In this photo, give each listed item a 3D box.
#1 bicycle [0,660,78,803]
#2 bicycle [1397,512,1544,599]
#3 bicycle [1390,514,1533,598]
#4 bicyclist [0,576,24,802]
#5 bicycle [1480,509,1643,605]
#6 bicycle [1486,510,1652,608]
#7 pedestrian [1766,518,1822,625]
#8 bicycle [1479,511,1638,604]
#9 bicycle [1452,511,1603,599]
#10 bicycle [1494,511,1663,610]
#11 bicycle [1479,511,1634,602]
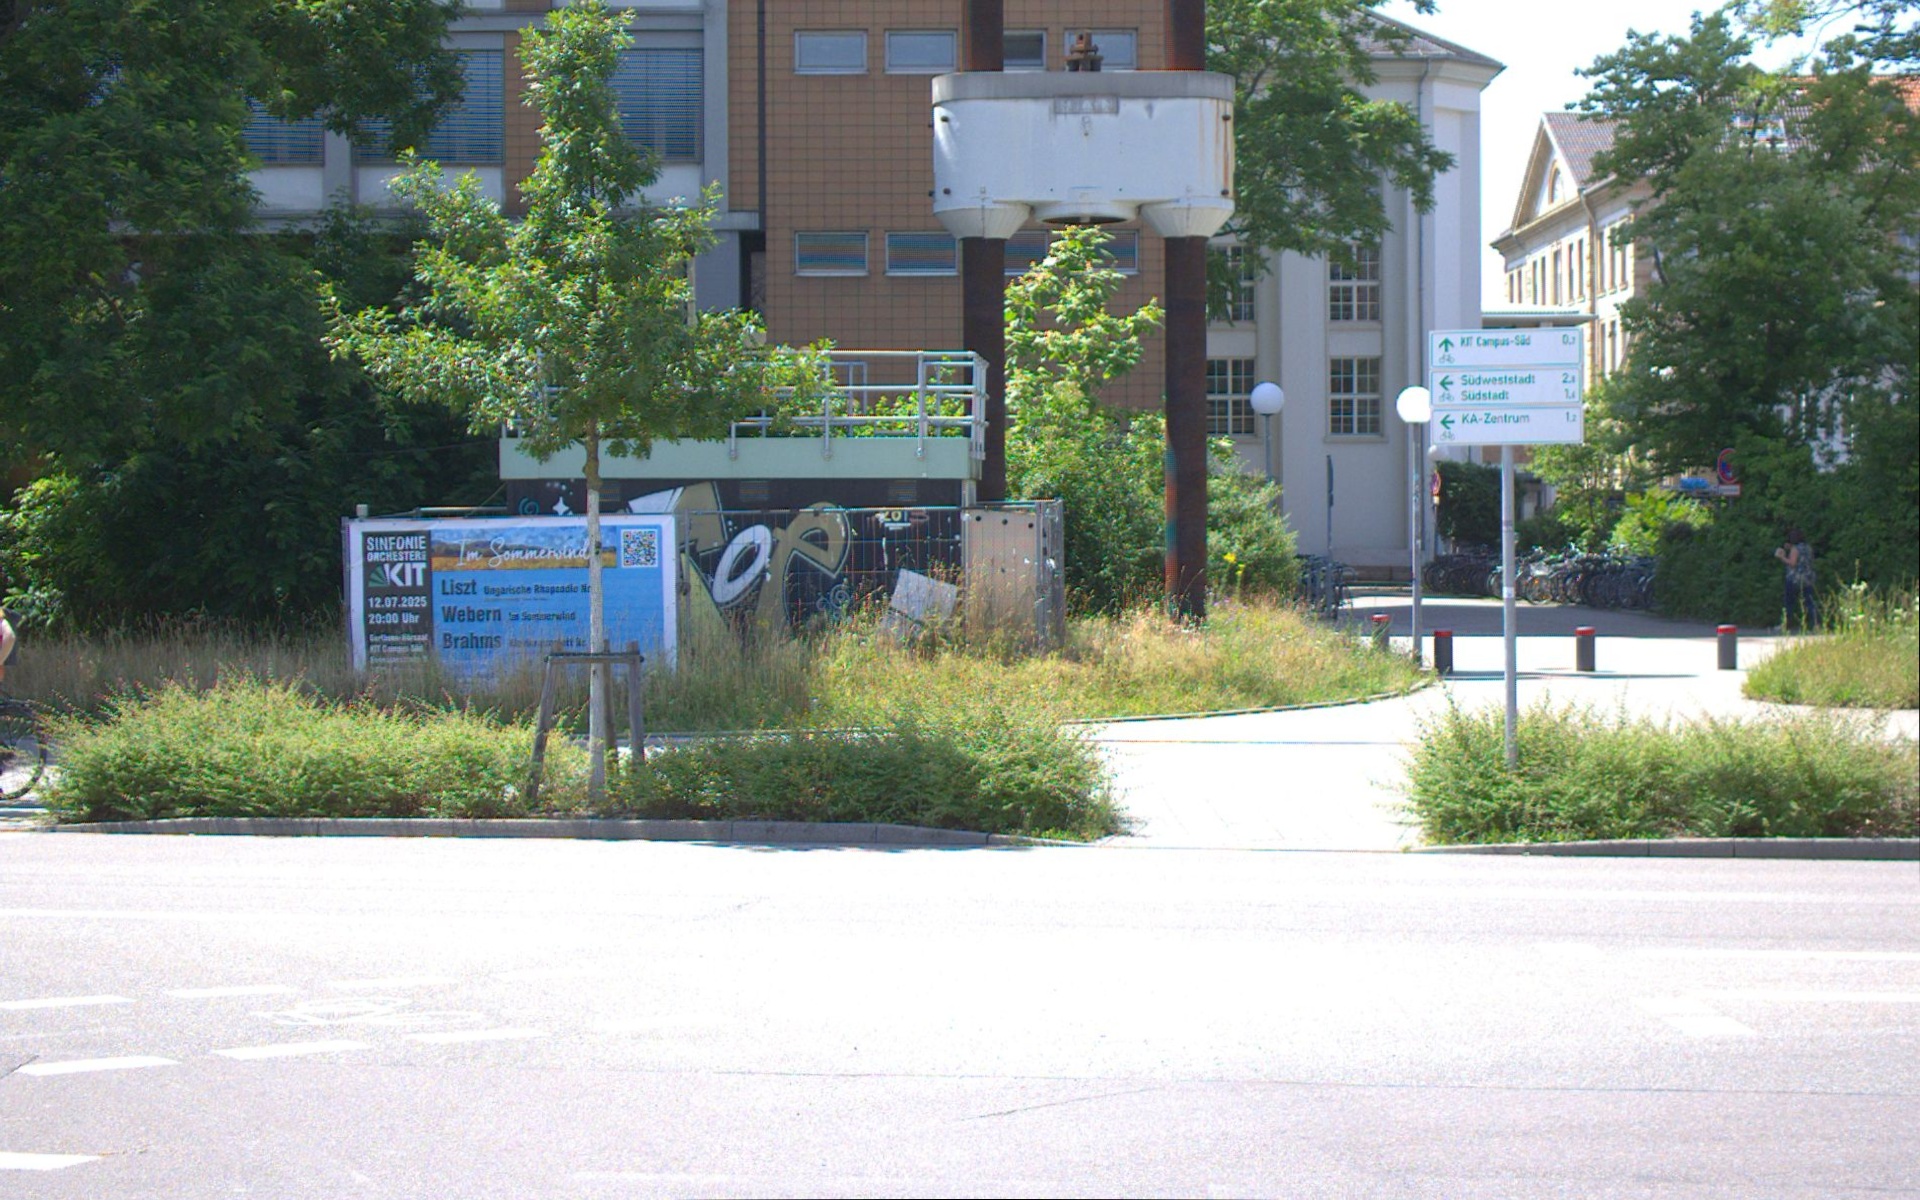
[{"bbox_3d":[-7.722,1.027,26.141,0.558,1.041,1.992,2,3,42],"label":"bicycle"},{"bbox_3d":[12.546,-1.099,84.572,3.447,2.007,0.760,2,1,3],"label":"bicycle"},{"bbox_3d":[12.664,-1.110,86.907,3.447,2.007,0.760,2,1,3],"label":"bicycle"},{"bbox_3d":[-7.607,0.681,26.241,0.551,1.710,0.701,3,3,41],"label":"bicyclist"},{"bbox_3d":[13.387,-0.964,76.570,3.447,2.007,0.760,2,1,3],"label":"bicycle"},{"bbox_3d":[13.343,-0.902,75.441,3.447,2.007,0.760,2,1,3],"label":"bicycle"},{"bbox_3d":[13.104,-0.450,54.038,0.639,1.659,0.707,2,1,-1],"label":"pedestrian"},{"bbox_3d":[13.646,-0.970,78.452,3.447,2.007,0.760,2,1,3],"label":"bicycle"},{"bbox_3d":[13.602,-1.079,82.491,3.447,2.007,0.760,2,1,3],"label":"bicycle"},{"bbox_3d":[13.317,-0.850,74.124,3.447,2.007,0.760,2,1,3],"label":"bicycle"},{"bbox_3d":[13.994,-1.023,80.652,3.447,2.007,0.760,2,1,3],"label":"bicycle"}]
